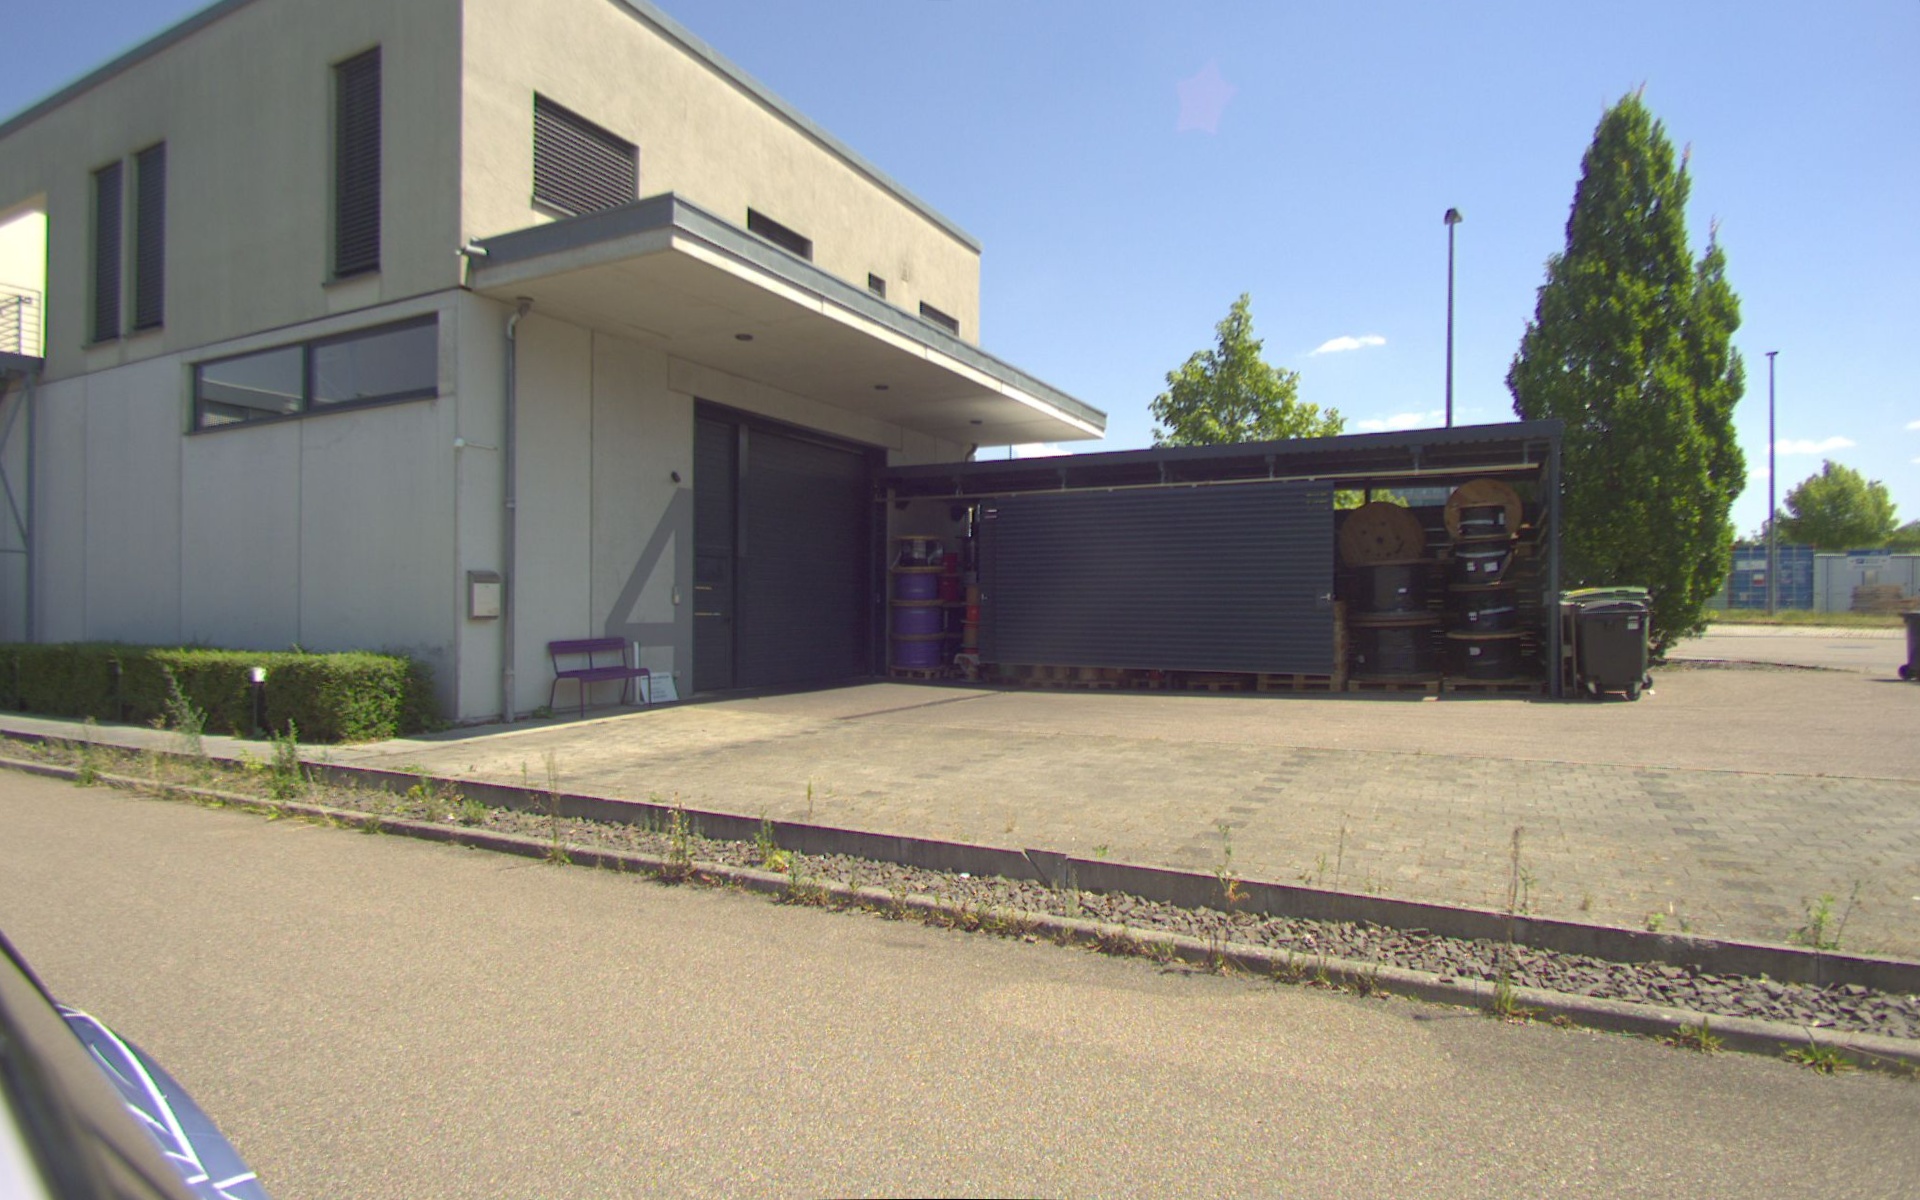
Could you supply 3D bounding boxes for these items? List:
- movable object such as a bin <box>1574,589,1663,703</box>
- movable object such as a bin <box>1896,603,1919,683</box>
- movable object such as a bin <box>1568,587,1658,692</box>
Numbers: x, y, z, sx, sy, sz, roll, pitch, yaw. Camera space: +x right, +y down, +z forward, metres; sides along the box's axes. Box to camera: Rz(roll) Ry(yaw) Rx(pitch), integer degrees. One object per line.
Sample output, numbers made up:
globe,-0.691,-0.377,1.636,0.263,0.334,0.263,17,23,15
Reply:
movable object such as a bin,8.144,0.547,12.541,0.882,1.355,0.804,-1,-1,33
movable object such as a bin,12.747,0.560,13.242,0.419,1.035,0.582,0,-1,-5
movable object such as a bin,8.705,0.515,13.518,0.971,1.340,0.702,-1,-1,34
